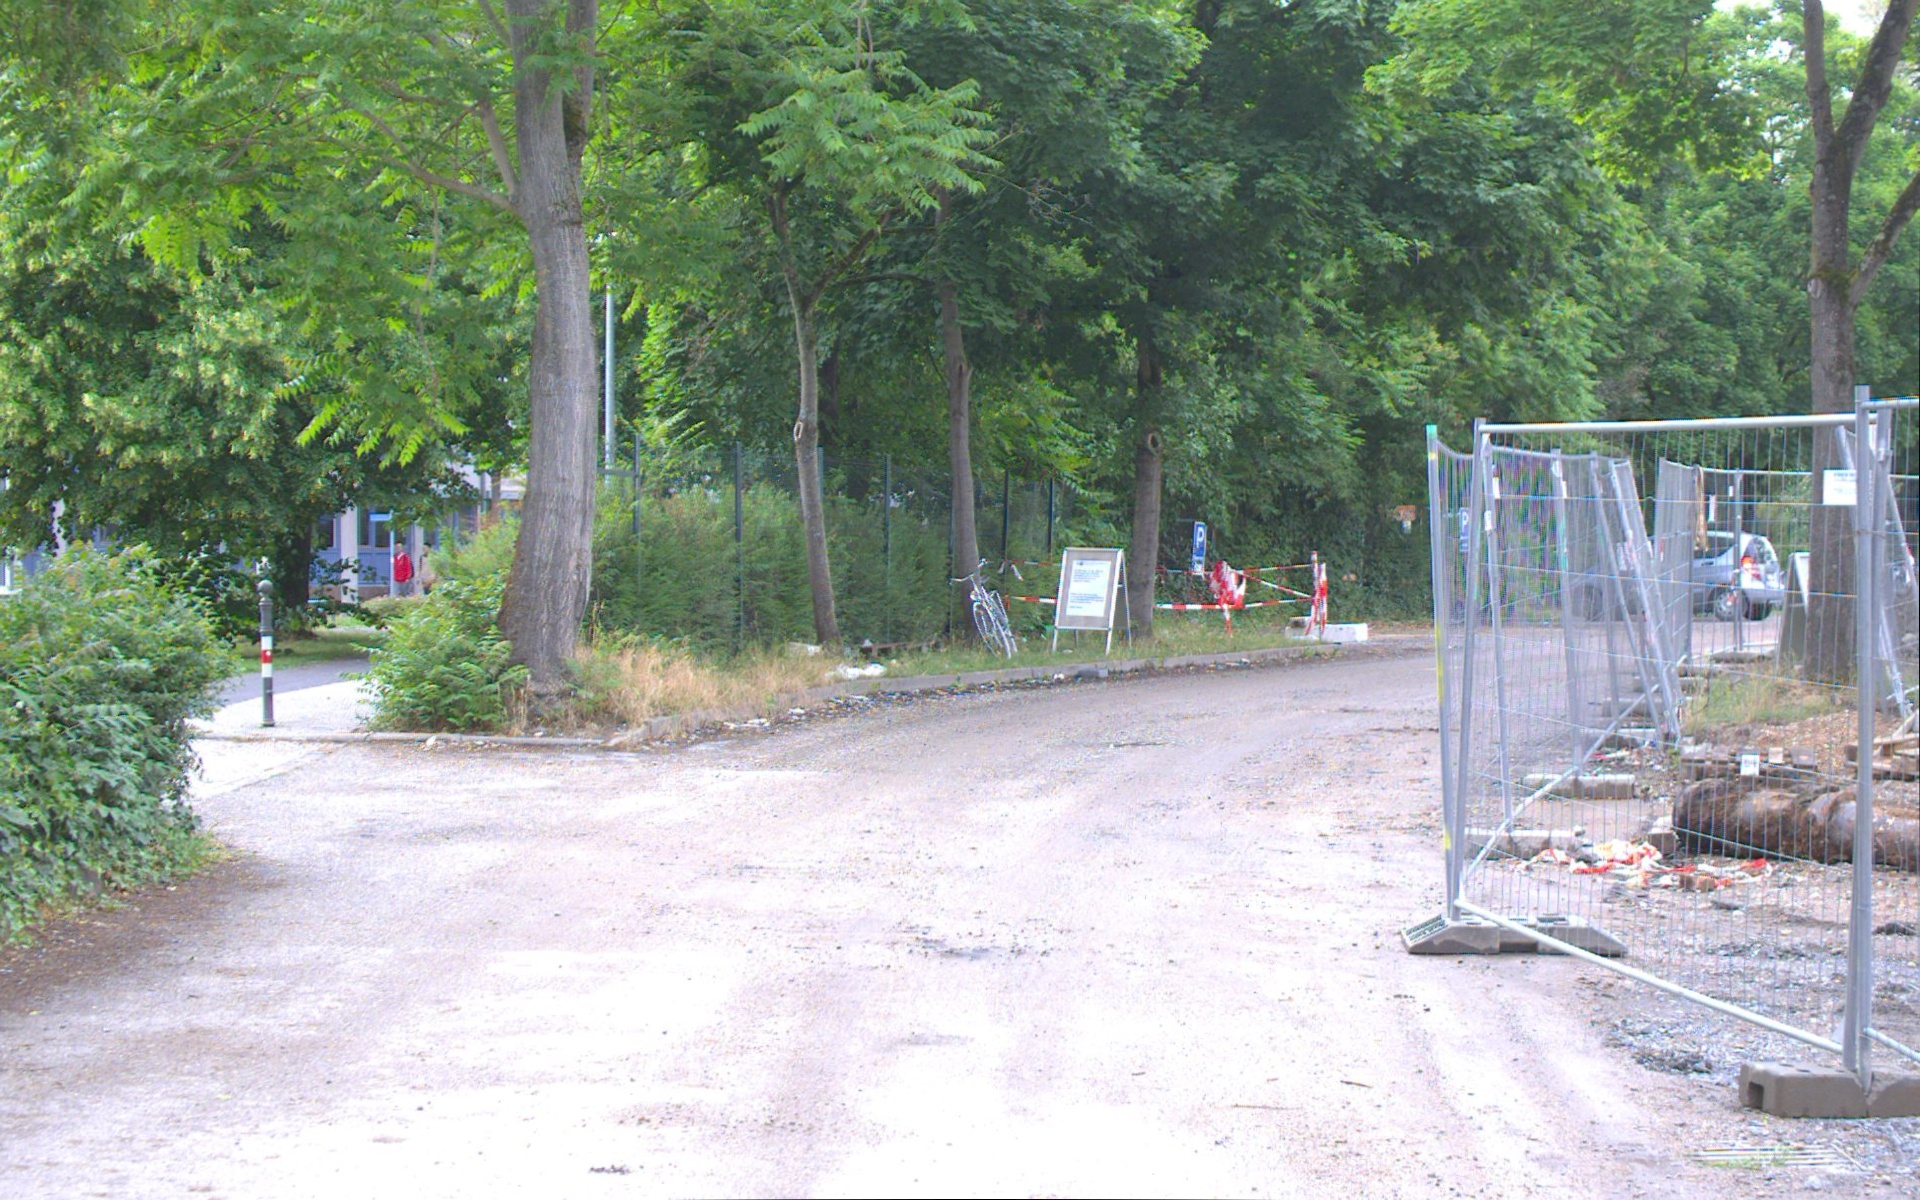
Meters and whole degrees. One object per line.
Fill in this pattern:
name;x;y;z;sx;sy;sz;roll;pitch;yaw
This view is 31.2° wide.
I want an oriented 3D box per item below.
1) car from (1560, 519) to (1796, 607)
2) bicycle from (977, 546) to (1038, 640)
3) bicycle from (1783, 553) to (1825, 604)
car;12.771;-0.684;61.167;3.705;1.495;1.865;1;2;30
bicycle;0.476;-0.076;34.273;0.419;0.902;1.153;1;1;10
bicycle;17.160;-0.444;69.882;0.771;0.974;2.030;1;2;15
